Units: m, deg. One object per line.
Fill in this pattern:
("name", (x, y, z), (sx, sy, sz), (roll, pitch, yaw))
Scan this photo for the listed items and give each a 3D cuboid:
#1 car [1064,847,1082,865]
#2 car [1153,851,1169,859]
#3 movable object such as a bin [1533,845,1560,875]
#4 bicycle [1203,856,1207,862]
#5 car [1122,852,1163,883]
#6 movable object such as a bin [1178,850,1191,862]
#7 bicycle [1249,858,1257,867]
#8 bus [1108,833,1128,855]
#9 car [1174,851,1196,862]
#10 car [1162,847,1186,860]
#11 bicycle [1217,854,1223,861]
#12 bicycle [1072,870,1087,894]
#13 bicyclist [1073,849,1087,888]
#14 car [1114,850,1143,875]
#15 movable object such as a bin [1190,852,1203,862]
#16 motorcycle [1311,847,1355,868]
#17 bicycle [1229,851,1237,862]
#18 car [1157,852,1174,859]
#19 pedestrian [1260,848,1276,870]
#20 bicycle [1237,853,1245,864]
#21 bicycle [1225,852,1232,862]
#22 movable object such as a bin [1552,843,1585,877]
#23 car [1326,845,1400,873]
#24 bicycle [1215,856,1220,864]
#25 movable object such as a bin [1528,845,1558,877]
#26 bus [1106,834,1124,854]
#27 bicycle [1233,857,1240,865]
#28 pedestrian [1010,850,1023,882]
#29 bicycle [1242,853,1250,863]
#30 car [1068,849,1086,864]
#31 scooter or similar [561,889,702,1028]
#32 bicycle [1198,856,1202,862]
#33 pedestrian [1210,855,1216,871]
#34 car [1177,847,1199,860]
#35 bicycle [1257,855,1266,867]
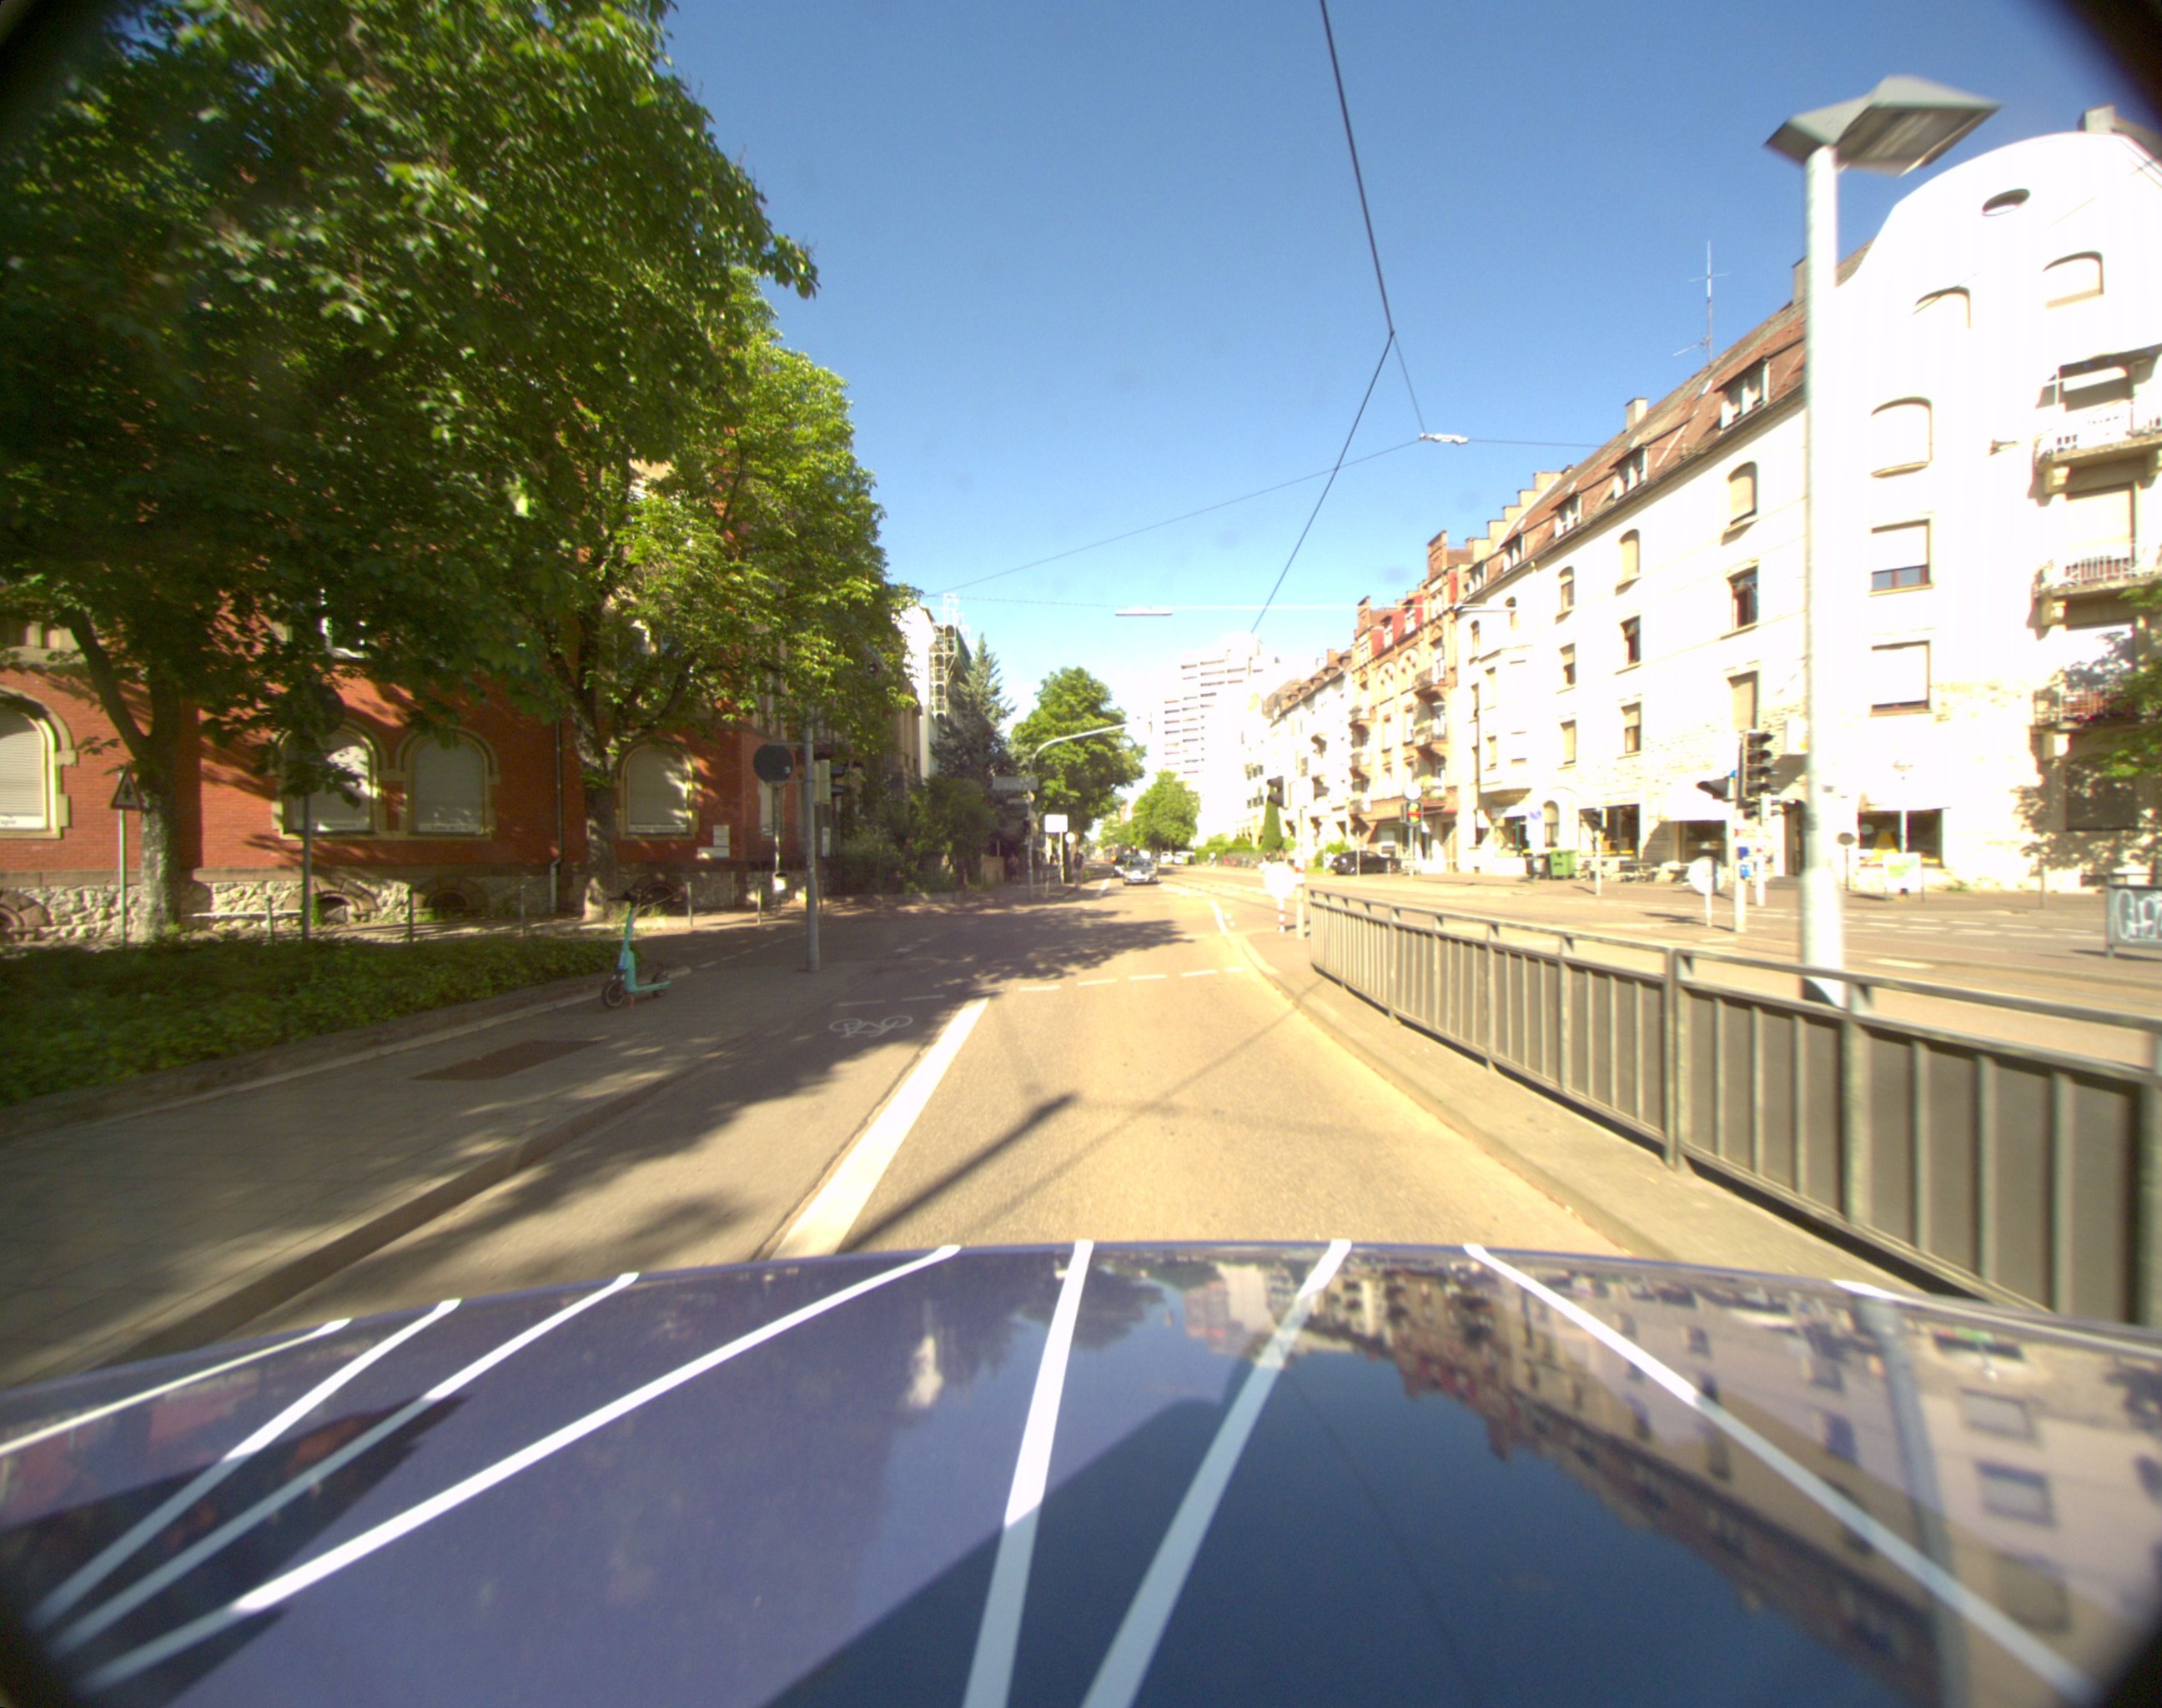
("car", (-1.091, 0.231, 100.505), (2.132, 2.329, 5.803), (1, 1, -2))
("car", (14.585, 0.226, 138.604), (2.757, 1.417, 1.226), (-2, 1, -15))
("movable object such as a bin", (21.009, 0.269, 34.310), (0.856, 1.318, 0.657), (-2, 1, 12))
("bicycle", (14.970, 0.622, 91.421), (0.297, 0.757, 1.263), (-2, 1, 1))
("car", (3.124, 0.678, 39.460), (1.869, 1.426, 4.000), (-2, 1, 1))
("movable object such as a bin", (13.893, 0.262, 101.950), (1.512, 1.424, 2.096), (-2, 1, 1))
("bicycle", (15.283, 0.732, 67.535), (0.318, 0.757, 1.652), (-2, 1, 1))
("bus", (6.877, -1.842, 141.950), (2.857, 3.755, 12.194), (-2, 1, -1))
("car", (14.836, 0.398, 108.359), (2.757, 1.427, 1.458), (-2, 1, -15))
("car", (14.582, -0.087, 118.813), (3.450, 1.860, 1.918), (-3, 1, -44))
("bicycle", (15.187, 0.390, 83.117), (0.405, 0.757, 1.581), (-2, 1, 1))
("bicycle", (-0.042, 1.216, 33.219), (0.535, 0.917, 2.057), (-2, 1, 2))
("bicyclist", (-0.058, 0.619, 33.257), (0.532, 1.660, 0.878), (-2, 1, 2))
("car", (3.212, 0.576, 52.004), (1.828, 1.559, 4.000), (-2, 1, 1))
("movable object such as a bin", (15.622, 0.436, 102.902), (1.501, 1.309, 2.096), (-2, 1, 1))
("motorcycle", (19.563, 0.272, 58.947), (3.092, 1.448, 0.823), (-2, 1, -1))
("bicycle", (15.259, 0.261, 76.368), (0.405, 1.018, 1.816), (-2, 1, 1))
("car", (14.599, 0.209, 131.402), (2.757, 1.083, 1.226), (-2, 1, -15))
("pedestrian", (14.659, 0.353, 59.622), (0.869, 1.619, 0.870), (-6, 1, 1))
("bicycle", (15.364, 0.431, 72.839), (0.405, 0.937, 1.649), (-2, 1, 1))
("bicycle", (15.235, 0.316, 78.688), (0.405, 1.018, 1.816), (-2, 1, 1))
("movable object such as a bin", (20.977, 0.255, 32.677), (0.859, 1.373, 1.024), (-3, 2, -44))
("car", (17.897, 0.292, 48.259), (3.999, 1.494, 1.771), (-4, 1, -5))
("bicycle", (15.256, 0.668, 84.638), (0.339, 0.757, 1.263), (-2, 1, 1))
("movable object such as a bin", (20.457, 0.317, 33.655), (0.856, 1.373, 1.028), (-2, 1, 13))
("bus", (6.804, -2.016, 153.690), (2.867, 3.755, 11.180), (-2, 1, -1))
("bicycle", (15.276, 0.661, 74.635), (0.318, 0.757, 1.542), (-2, 1, 1))
("pedestrian", (-3.350, 0.627, 39.451), (0.593, 1.662, 0.647), (1, 1, 1))
("bicycle", (15.365, 0.362, 70.884), (0.405, 0.937, 1.749), (-2, 1, 1))
("car", (-0.449, 0.272, 81.135), (1.877, 1.534, 4.364), (1, 1, -2))
("scooter or similar", (-4.848, 1.083, 8.296), (0.678, 1.303, 1.328), (-2, 1, 1))
("bicycle", (15.059, 0.659, 96.154), (0.297, 0.757, 1.263), (-2, 1, 1))
("pedestrian", (13.902, 0.974, 79.845), (0.475, 1.619, 0.659), (-2, 1, 1))
("car", (14.834, -0.024, 105.351), (3.194, 1.763, 1.456), (1, -1, -44))
("bicycle", (15.525, 0.586, 65.291), (0.405, 1.033, 1.749), (-2, 1, 1))
